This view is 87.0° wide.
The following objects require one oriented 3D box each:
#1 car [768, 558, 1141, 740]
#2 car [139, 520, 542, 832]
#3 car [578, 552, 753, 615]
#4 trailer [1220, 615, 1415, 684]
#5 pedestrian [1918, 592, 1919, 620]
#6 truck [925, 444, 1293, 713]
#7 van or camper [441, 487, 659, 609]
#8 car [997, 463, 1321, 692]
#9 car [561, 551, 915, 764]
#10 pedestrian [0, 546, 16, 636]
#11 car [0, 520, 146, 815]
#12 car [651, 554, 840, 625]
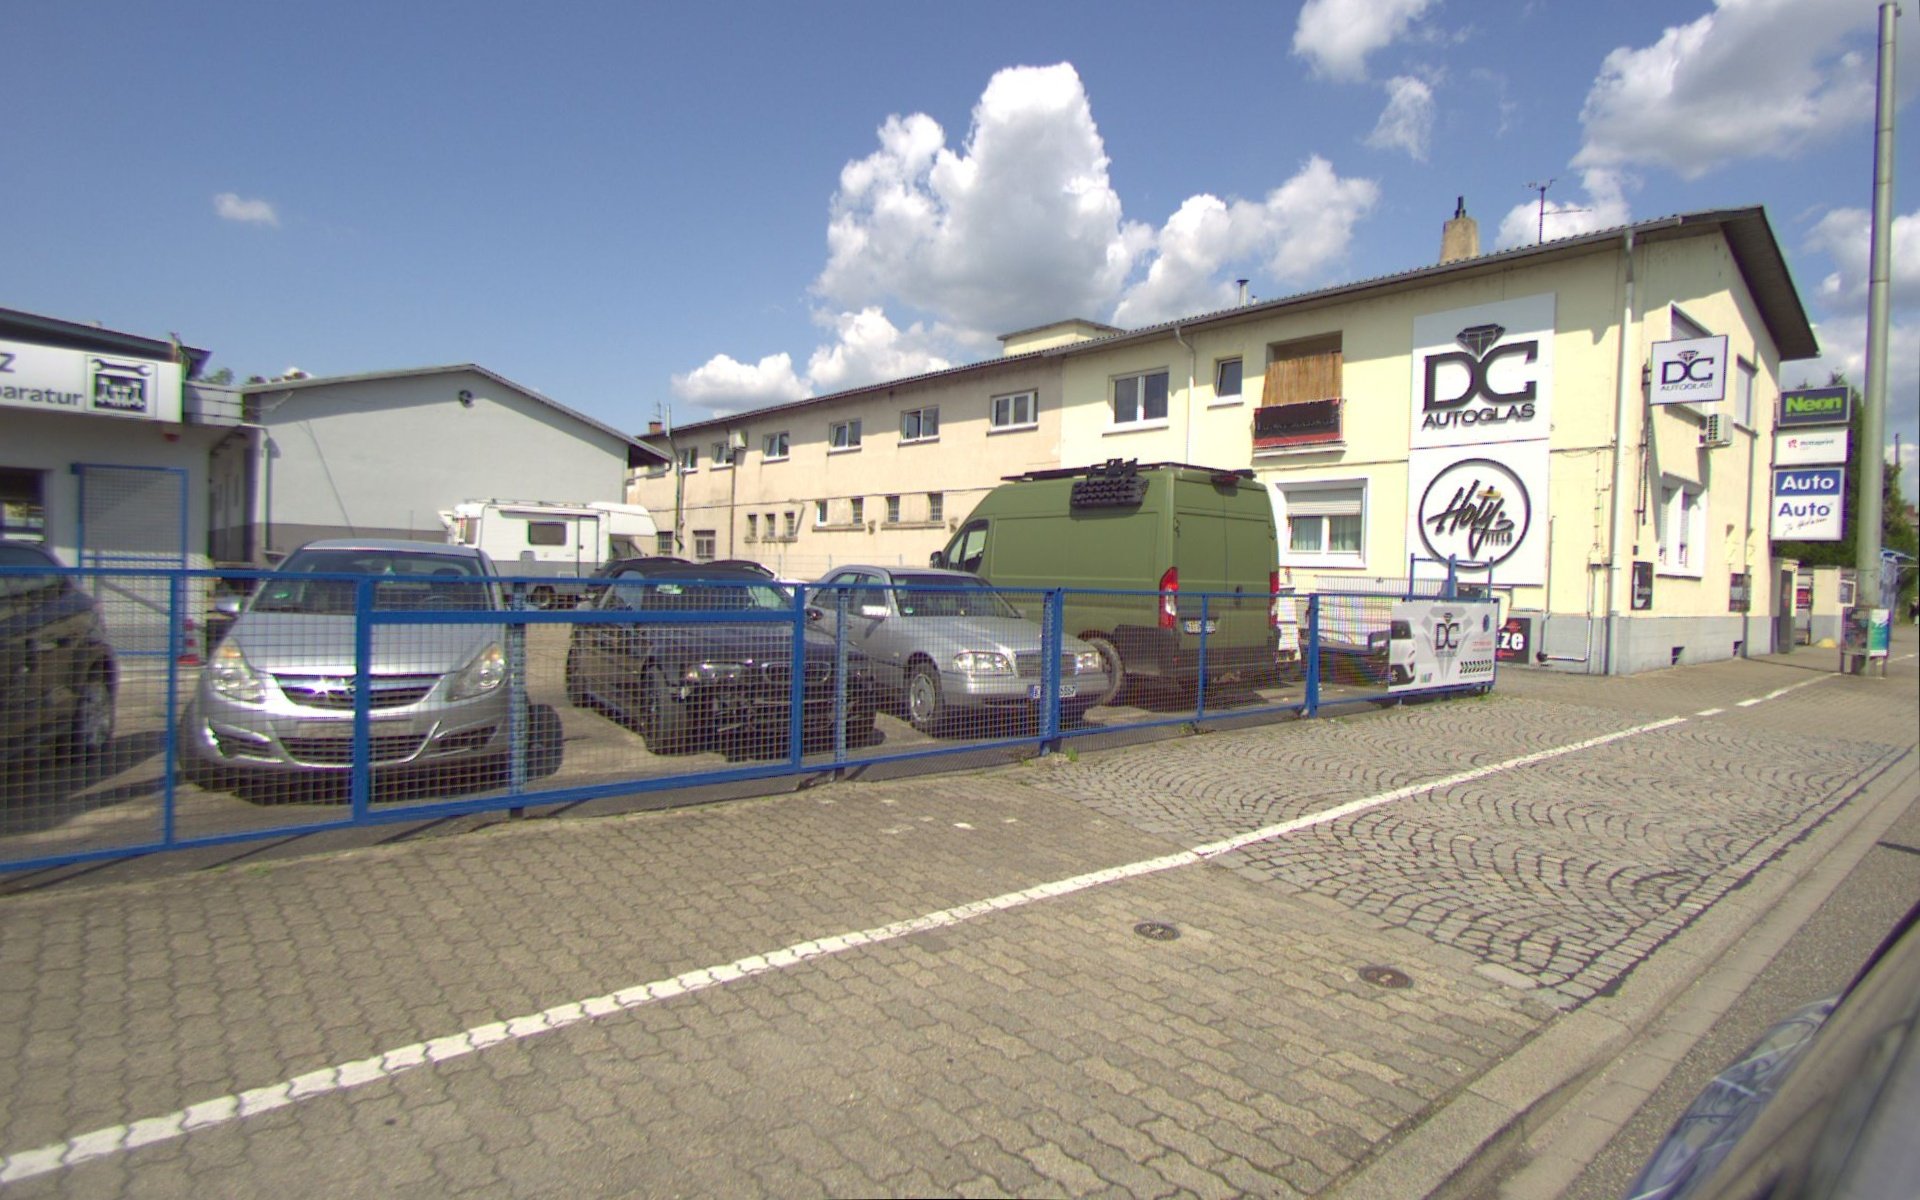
[{"bbox_3d":[-0.295,0.319,10.212,1.768,1.413,4.216,1,2,-33],"label":"car"},{"bbox_3d":[-3.949,0.302,7.109,1.766,1.497,4.158,1,2,-24],"label":"car"},{"bbox_3d":[-7.478,-0.411,25.896,3.939,1.497,1.719,0,2,-41],"label":"car"},{"bbox_3d":[5.083,0.669,14.535,1.245,0.776,2.330,0,2,-39],"label":"trailer"},{"bbox_3d":[55.046,0.368,57.485,0.902,1.606,0.816,1,1,-41],"label":"pedestrian"},{"bbox_3d":[1.624,-0.286,12.152,2.033,2.639,3.996,1,2,-40],"label":"truck"},{"bbox_3d":[-11.007,-1.324,27.374,4.971,2.999,2.284,0,2,-42],"label":"van or camper"},{"bbox_3d":[2.613,-0.346,14.149,1.771,2.702,4.208,1,2,-40],"label":"car"},{"bbox_3d":[-2.123,0.309,8.753,1.768,1.403,3.837,1,2,-32],"label":"car"},{"bbox_3d":[-13.257,-0.129,13.847,0.479,1.228,0.501,1,1,-42],"label":"pedestrian"},{"bbox_3d":[-5.746,0.324,5.040,1.685,1.497,4.012,1,2,-25],"label":"car"},{"bbox_3d":[-4.925,-0.247,23.526,3.939,1.497,1.719,0,2,-41],"label":"car"}]
